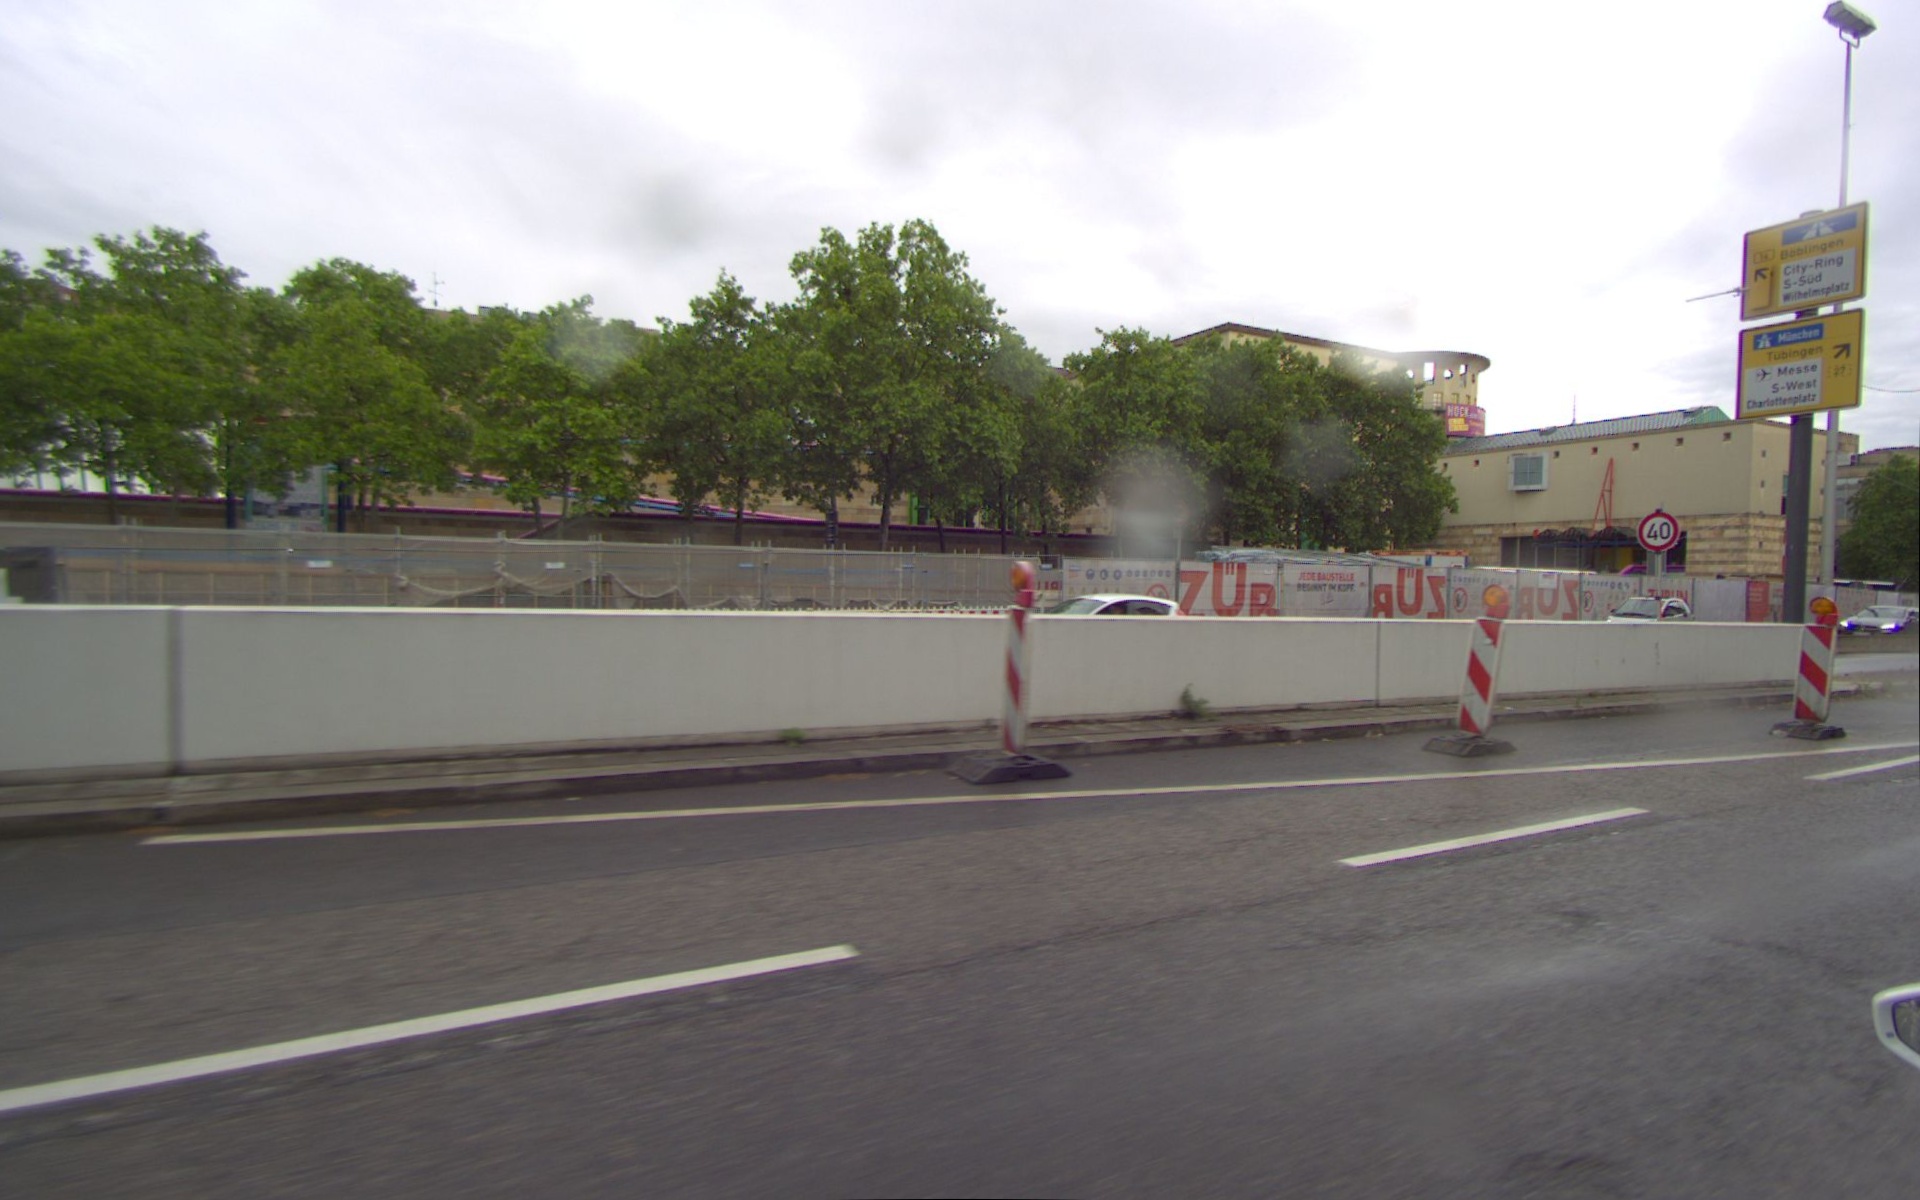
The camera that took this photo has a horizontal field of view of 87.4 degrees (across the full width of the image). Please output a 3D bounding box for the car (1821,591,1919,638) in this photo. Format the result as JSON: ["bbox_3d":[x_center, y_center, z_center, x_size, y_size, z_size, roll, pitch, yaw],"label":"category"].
[{"bbox_3d":[34.697,0.561,38.000,3.954,1.499,1.983,3,3,-31],"label":"car"}]

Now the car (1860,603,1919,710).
[{"bbox_3d":[13.925,0.785,13.964,3.035,1.405,1.377,2,0,-34],"label":"car"}]

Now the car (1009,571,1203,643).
[{"bbox_3d":[2.792,0.126,19.160,3.365,1.212,1.618,1,3,-30],"label":"car"}]

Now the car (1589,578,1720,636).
[{"bbox_3d":[20.791,0.167,30.039,3.953,1.543,1.660,-1,4,-31],"label":"car"}]
